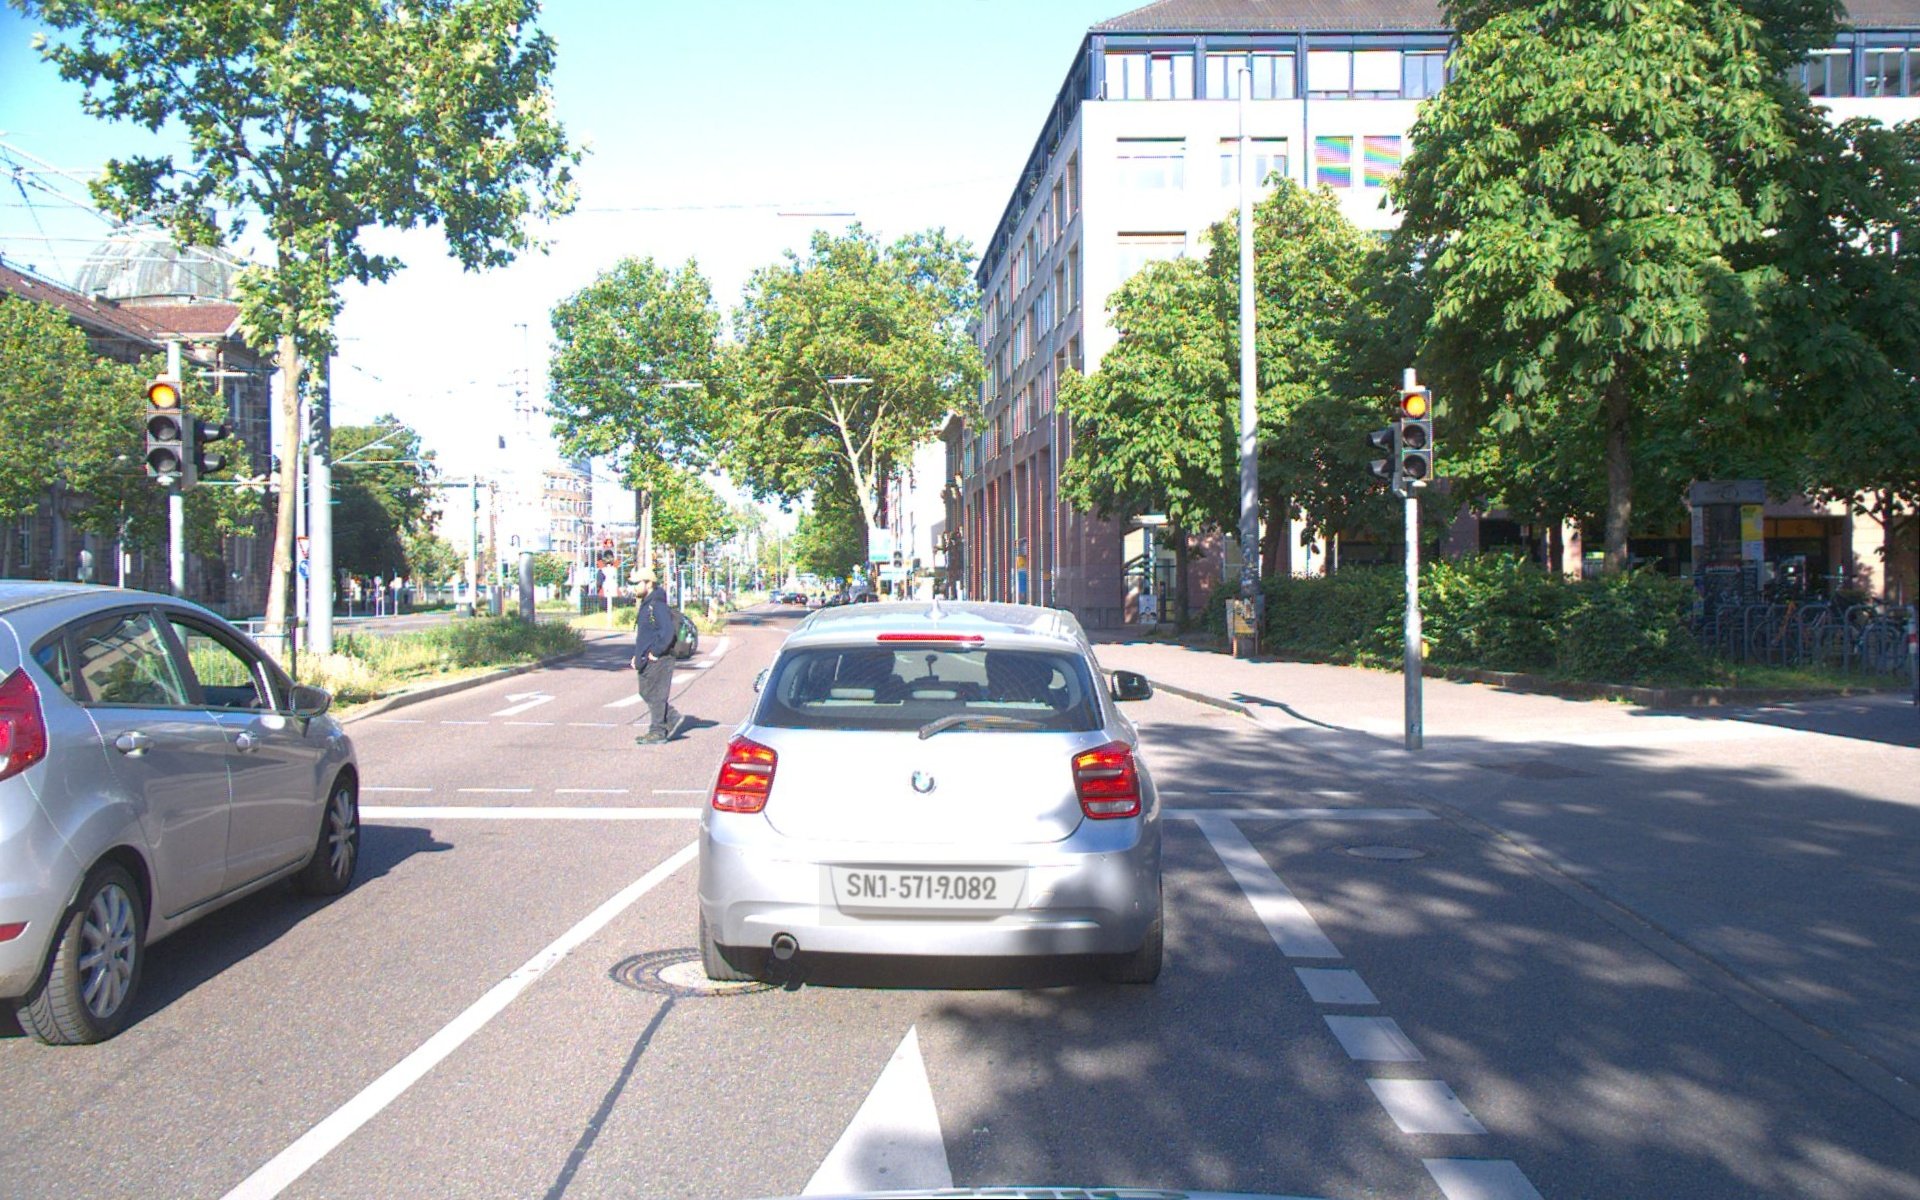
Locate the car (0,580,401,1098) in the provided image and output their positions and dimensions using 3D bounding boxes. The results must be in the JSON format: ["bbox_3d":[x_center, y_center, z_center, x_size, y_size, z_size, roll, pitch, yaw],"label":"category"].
[{"bbox_3d":[-3.503,0.655,6.347,1.627,1.434,3.630,1,0,-3],"label":"car"}]

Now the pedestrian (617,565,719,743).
[{"bbox_3d":[-2.804,0.505,15.843,0.925,1.657,0.626,0,0,-14],"label":"pedestrian"}]

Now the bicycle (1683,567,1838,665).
[{"bbox_3d":[11.655,0.225,24.095,1.956,1.337,0.574,-2,0,-2],"label":"bicycle"}]

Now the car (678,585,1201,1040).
[{"bbox_3d":[0.010,0.675,7.334,1.694,1.414,3.841,1,1,2],"label":"car"}]

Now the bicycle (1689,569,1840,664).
[{"bbox_3d":[12.010,0.242,24.724,1.956,1.337,0.574,-2,0,-2],"label":"bicycle"}]

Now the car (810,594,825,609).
[{"bbox_3d":[-21.355,0.254,248.285,1.953,2.049,3.999,1,-1,0],"label":"car"}]

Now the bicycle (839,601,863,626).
[{"bbox_3d":[-5.008,0.611,75.900,0.814,1.059,1.875,-1,0,4],"label":"bicycle"}]

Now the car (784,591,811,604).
[{"bbox_3d":[-20.176,-0.287,205.085,1.972,1.512,3.962,-1,0,-29],"label":"car"}]

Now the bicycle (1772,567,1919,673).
[{"bbox_3d":[12.072,0.261,22.280,1.956,1.337,0.574,-2,0,-2],"label":"bicycle"}]

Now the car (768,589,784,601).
[{"bbox_3d":[-24.650,-0.647,221.636,1.956,1.512,3.993,0,0,-7],"label":"car"}]

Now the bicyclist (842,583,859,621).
[{"bbox_3d":[-5.032,0.092,75.902,0.644,1.686,0.765,-1,0,4],"label":"bicyclist"}]
